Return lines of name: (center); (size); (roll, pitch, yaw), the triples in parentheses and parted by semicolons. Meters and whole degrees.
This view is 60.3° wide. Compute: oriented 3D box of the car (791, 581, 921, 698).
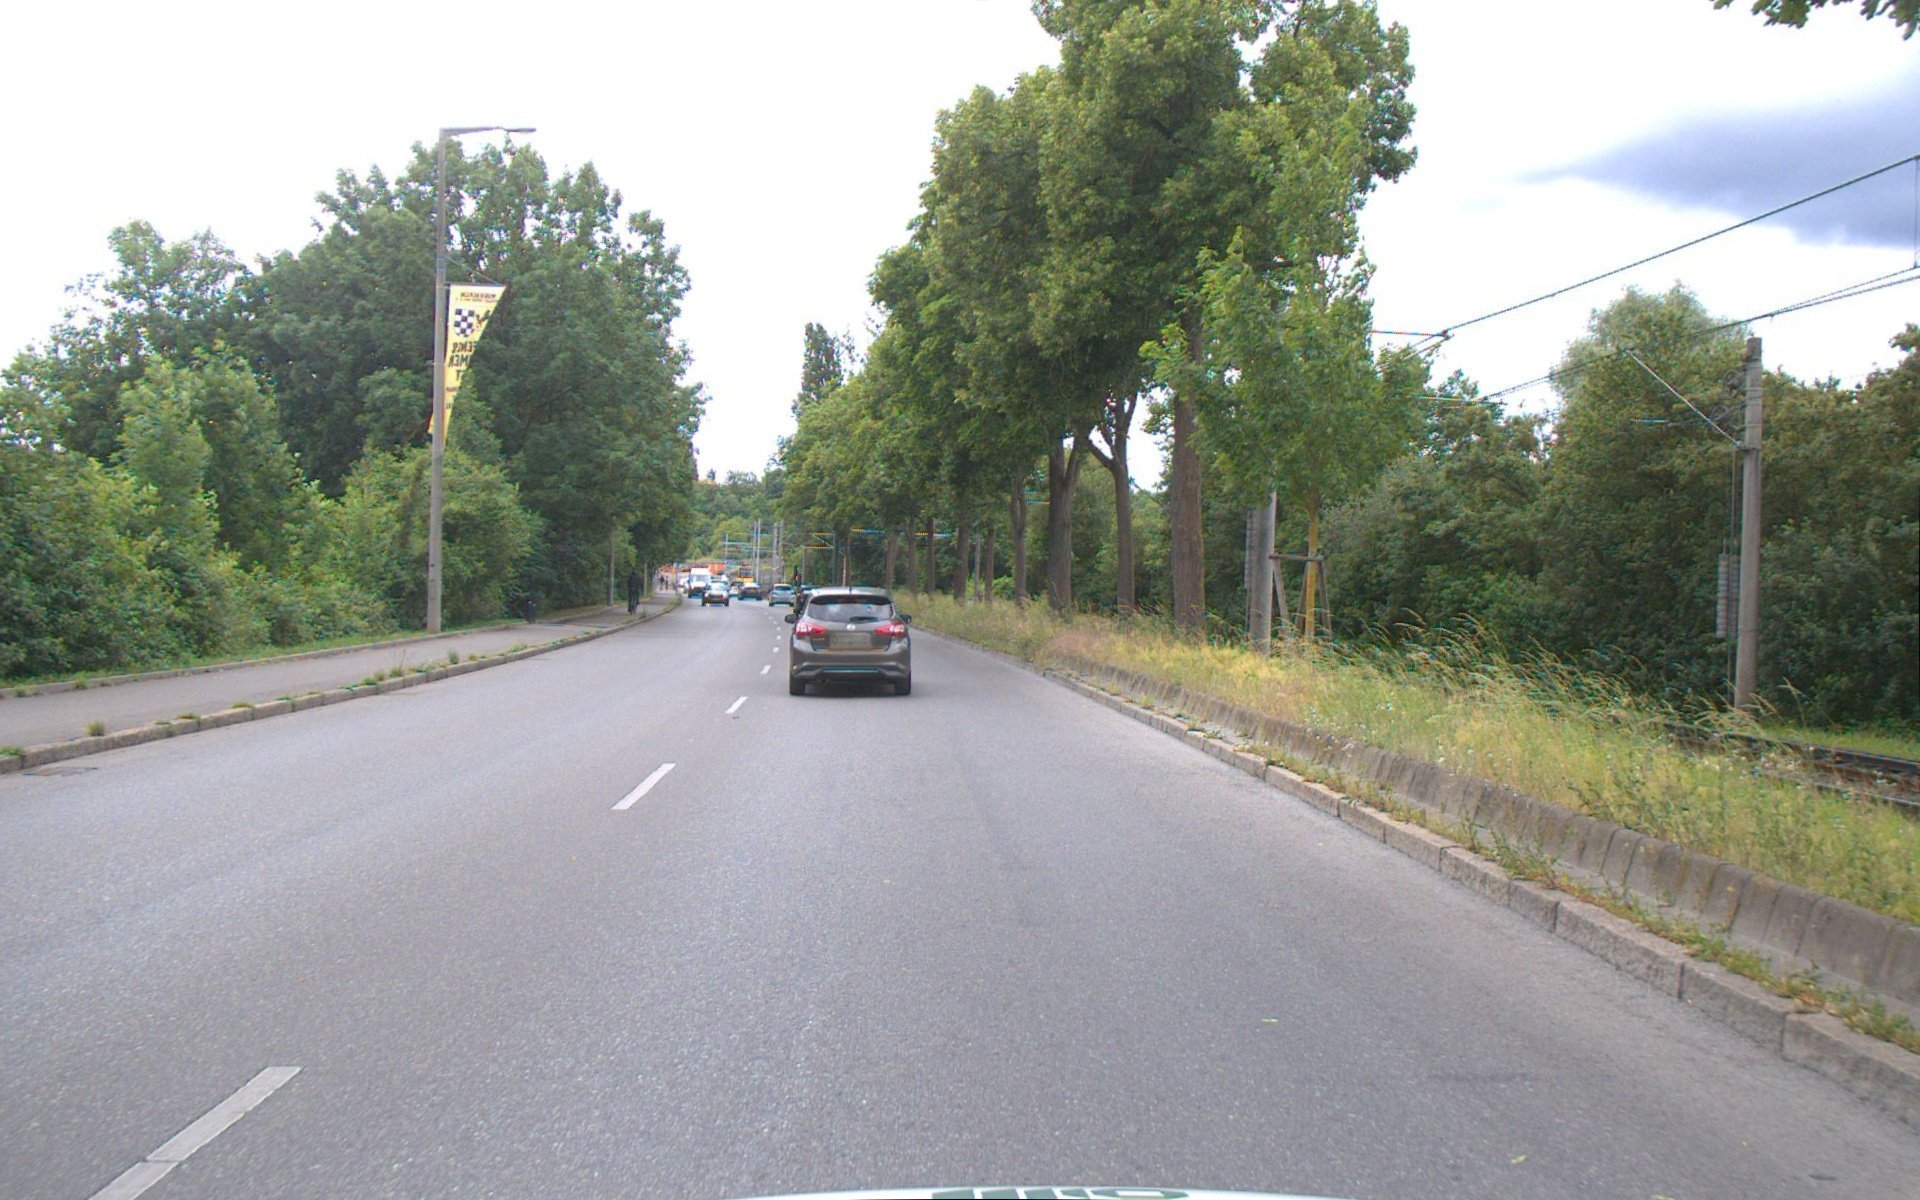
car: (-1.598, 0.527, 24.846); (1.780, 1.534, 3.997); (1, 1, -5)

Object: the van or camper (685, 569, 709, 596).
van or camper: (-23.320, -1.567, 146.684); (1.890, 2.188, 3.924); (3, 1, -9)

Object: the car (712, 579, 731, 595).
car: (-25.343, -1.360, 175.965); (1.742, 1.497, 3.995); (4, 1, -6)

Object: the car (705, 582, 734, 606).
car: (-15.648, -0.413, 107.749); (1.715, 1.489, 3.915); (3, 0, -6)

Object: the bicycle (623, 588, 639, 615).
bicycle: (-13.726, 0.056, 68.972); (0.478, 1.048, 1.123); (3, 1, -4)

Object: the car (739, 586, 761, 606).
car: (-17.668, -0.374, 139.292); (1.742, 1.497, 3.995); (4, 1, -6)

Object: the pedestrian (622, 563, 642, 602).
pedestrian: (-13.678, -0.730, 68.942); (0.605, 1.598, 0.849); (3, 1, -4)

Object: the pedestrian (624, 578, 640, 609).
pedestrian: (-17.933, -0.379, 90.383); (0.682, 1.649, 0.684); (3, 1, -5)

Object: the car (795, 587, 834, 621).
car: (-7.426, 0.183, 84.656); (1.741, 1.497, 3.998); (4, 1, -3)

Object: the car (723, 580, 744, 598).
car: (-21.004, -1.061, 153.275); (1.742, 1.497, 3.995); (2, 1, -6)

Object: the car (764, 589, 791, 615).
car: (-12.383, 0.113, 112.102); (1.742, 1.497, 3.995); (4, 1, -7)
